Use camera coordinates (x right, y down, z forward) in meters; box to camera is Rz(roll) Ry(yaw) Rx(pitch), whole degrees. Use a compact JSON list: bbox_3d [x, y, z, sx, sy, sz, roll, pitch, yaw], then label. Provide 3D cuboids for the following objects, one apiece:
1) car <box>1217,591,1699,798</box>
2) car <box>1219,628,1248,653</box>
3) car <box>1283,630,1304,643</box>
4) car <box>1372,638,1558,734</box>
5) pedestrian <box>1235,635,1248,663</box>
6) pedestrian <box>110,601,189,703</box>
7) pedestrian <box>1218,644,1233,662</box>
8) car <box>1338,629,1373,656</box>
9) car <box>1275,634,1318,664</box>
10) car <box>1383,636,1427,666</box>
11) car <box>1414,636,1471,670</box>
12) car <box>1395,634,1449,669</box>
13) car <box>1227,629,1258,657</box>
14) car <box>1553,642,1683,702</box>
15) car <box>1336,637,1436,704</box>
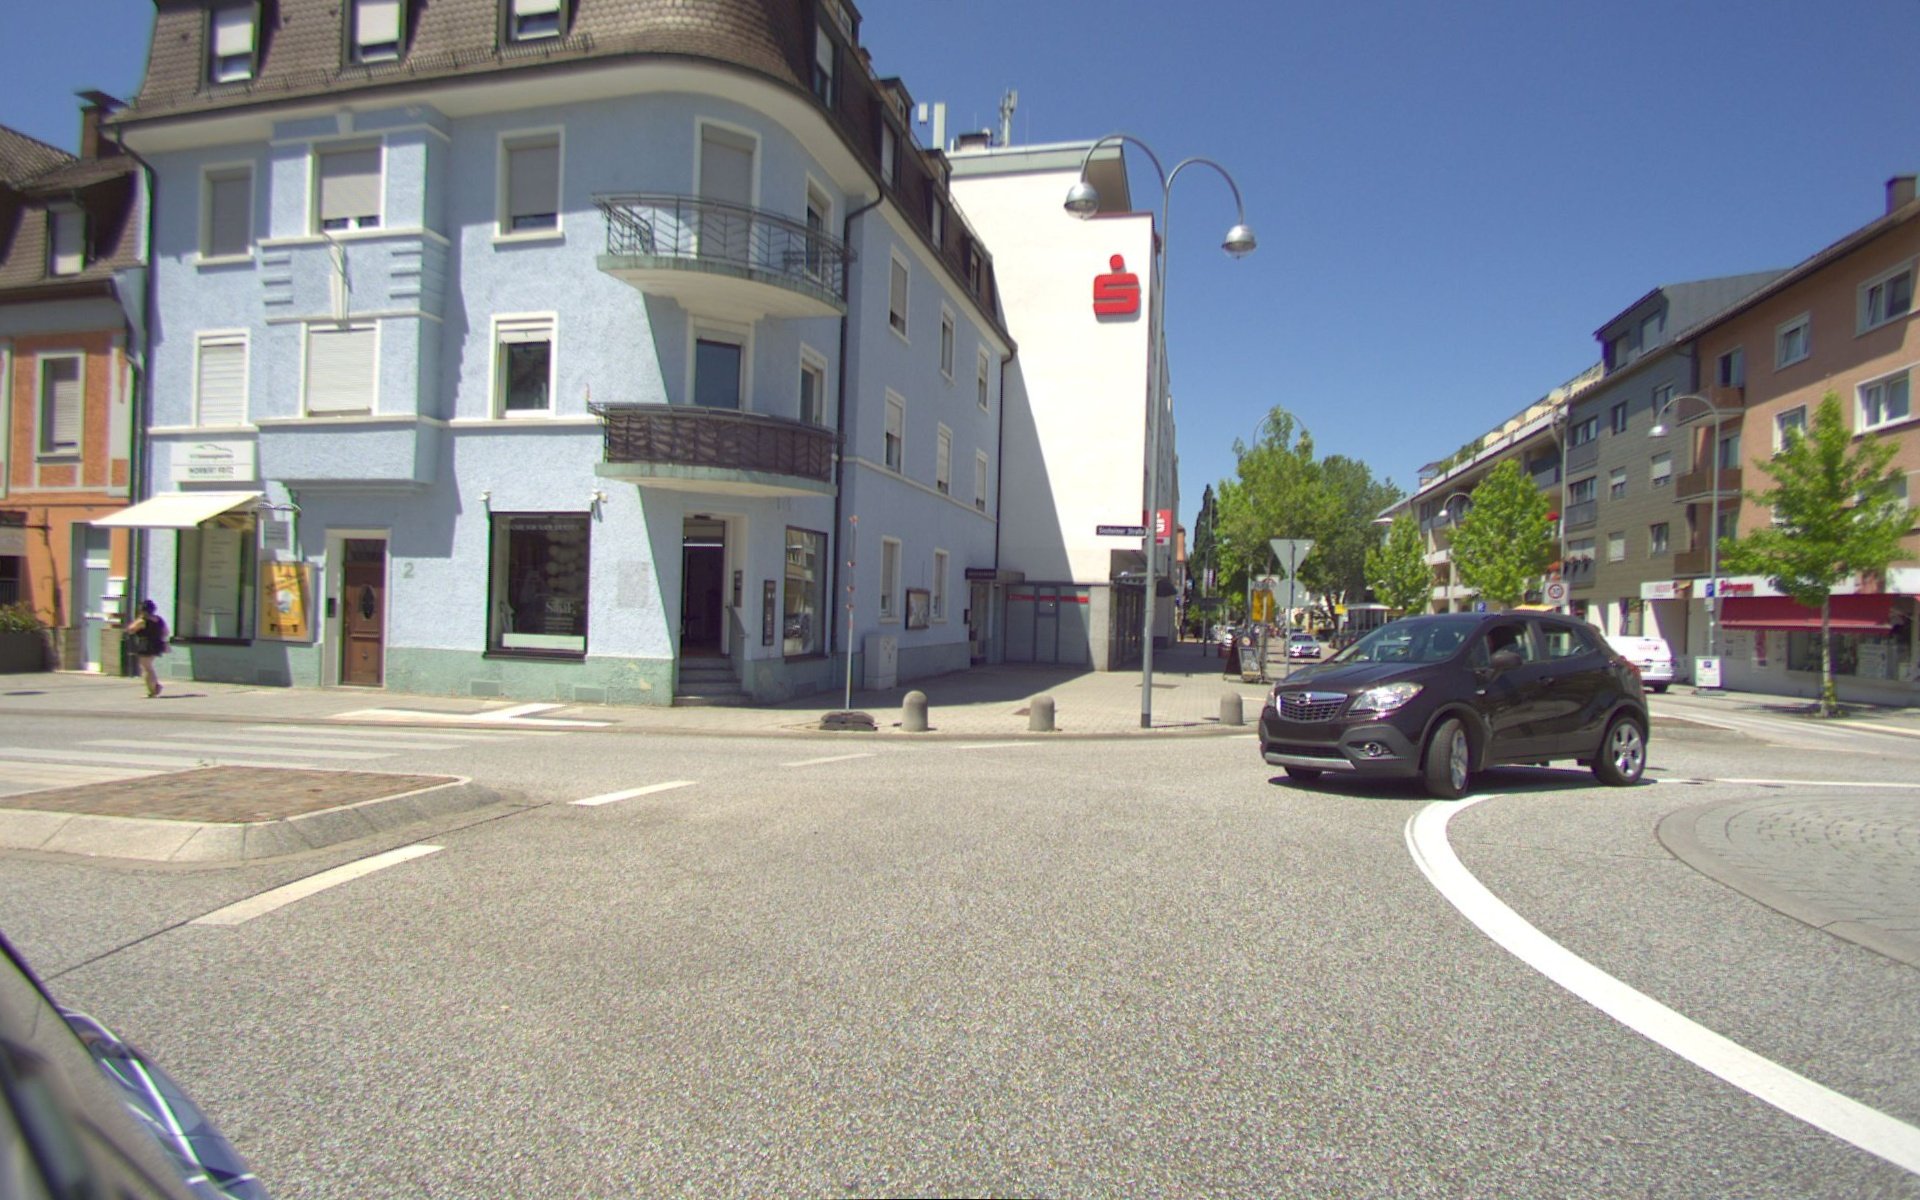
[{"bbox_3d":[4.704,0.854,9.557,4.094,1.574,2.006,3,-4,-27],"label":"car"},{"bbox_3d":[20.855,3.065,77.414,1.811,1.631,4.375,3,0,12],"label":"car"},{"bbox_3d":[40.148,4.360,121.906,1.963,1.461,4.330,-1,0,13],"label":"car"},{"bbox_3d":[9.259,1.489,19.013,1.979,1.489,4.691,0,-1,12],"label":"car"},{"bbox_3d":[14.215,2.483,51.035,0.565,1.382,0.662,0,-2,23],"label":"pedestrian"},{"bbox_3d":[-12.778,0.802,15.967,0.795,1.536,0.626,1,1,13],"label":"pedestrian"},{"bbox_3d":[13.712,2.745,52.198,0.662,0.865,0.727,0,-5,23],"label":"pedestrian"},{"bbox_3d":[29.935,3.182,76.663,1.982,1.812,4.546,0,0,15],"label":"car"},{"bbox_3d":[20.251,2.902,61.069,1.981,1.605,4.977,2,-1,13],"label":"car"},{"bbox_3d":[25.874,2.930,58.935,1.712,1.595,4.204,0,-2,15],"label":"car"},{"bbox_3d":[23.232,2.512,48.854,1.731,1.562,3.926,0,-2,14],"label":"car"},{"bbox_3d":[24.484,2.713,53.763,1.752,1.719,4.684,0,-1,14],"label":"car"},{"bbox_3d":[20.036,3.001,71.956,1.717,1.753,4.375,4,0,12],"label":"car"},{"bbox_3d":[20.877,2.236,32.320,1.730,1.737,3.906,0,-1,3],"label":"car"},{"bbox_3d":[10.700,1.709,25.660,1.840,1.489,3.889,0,-1,16],"label":"car"}]
